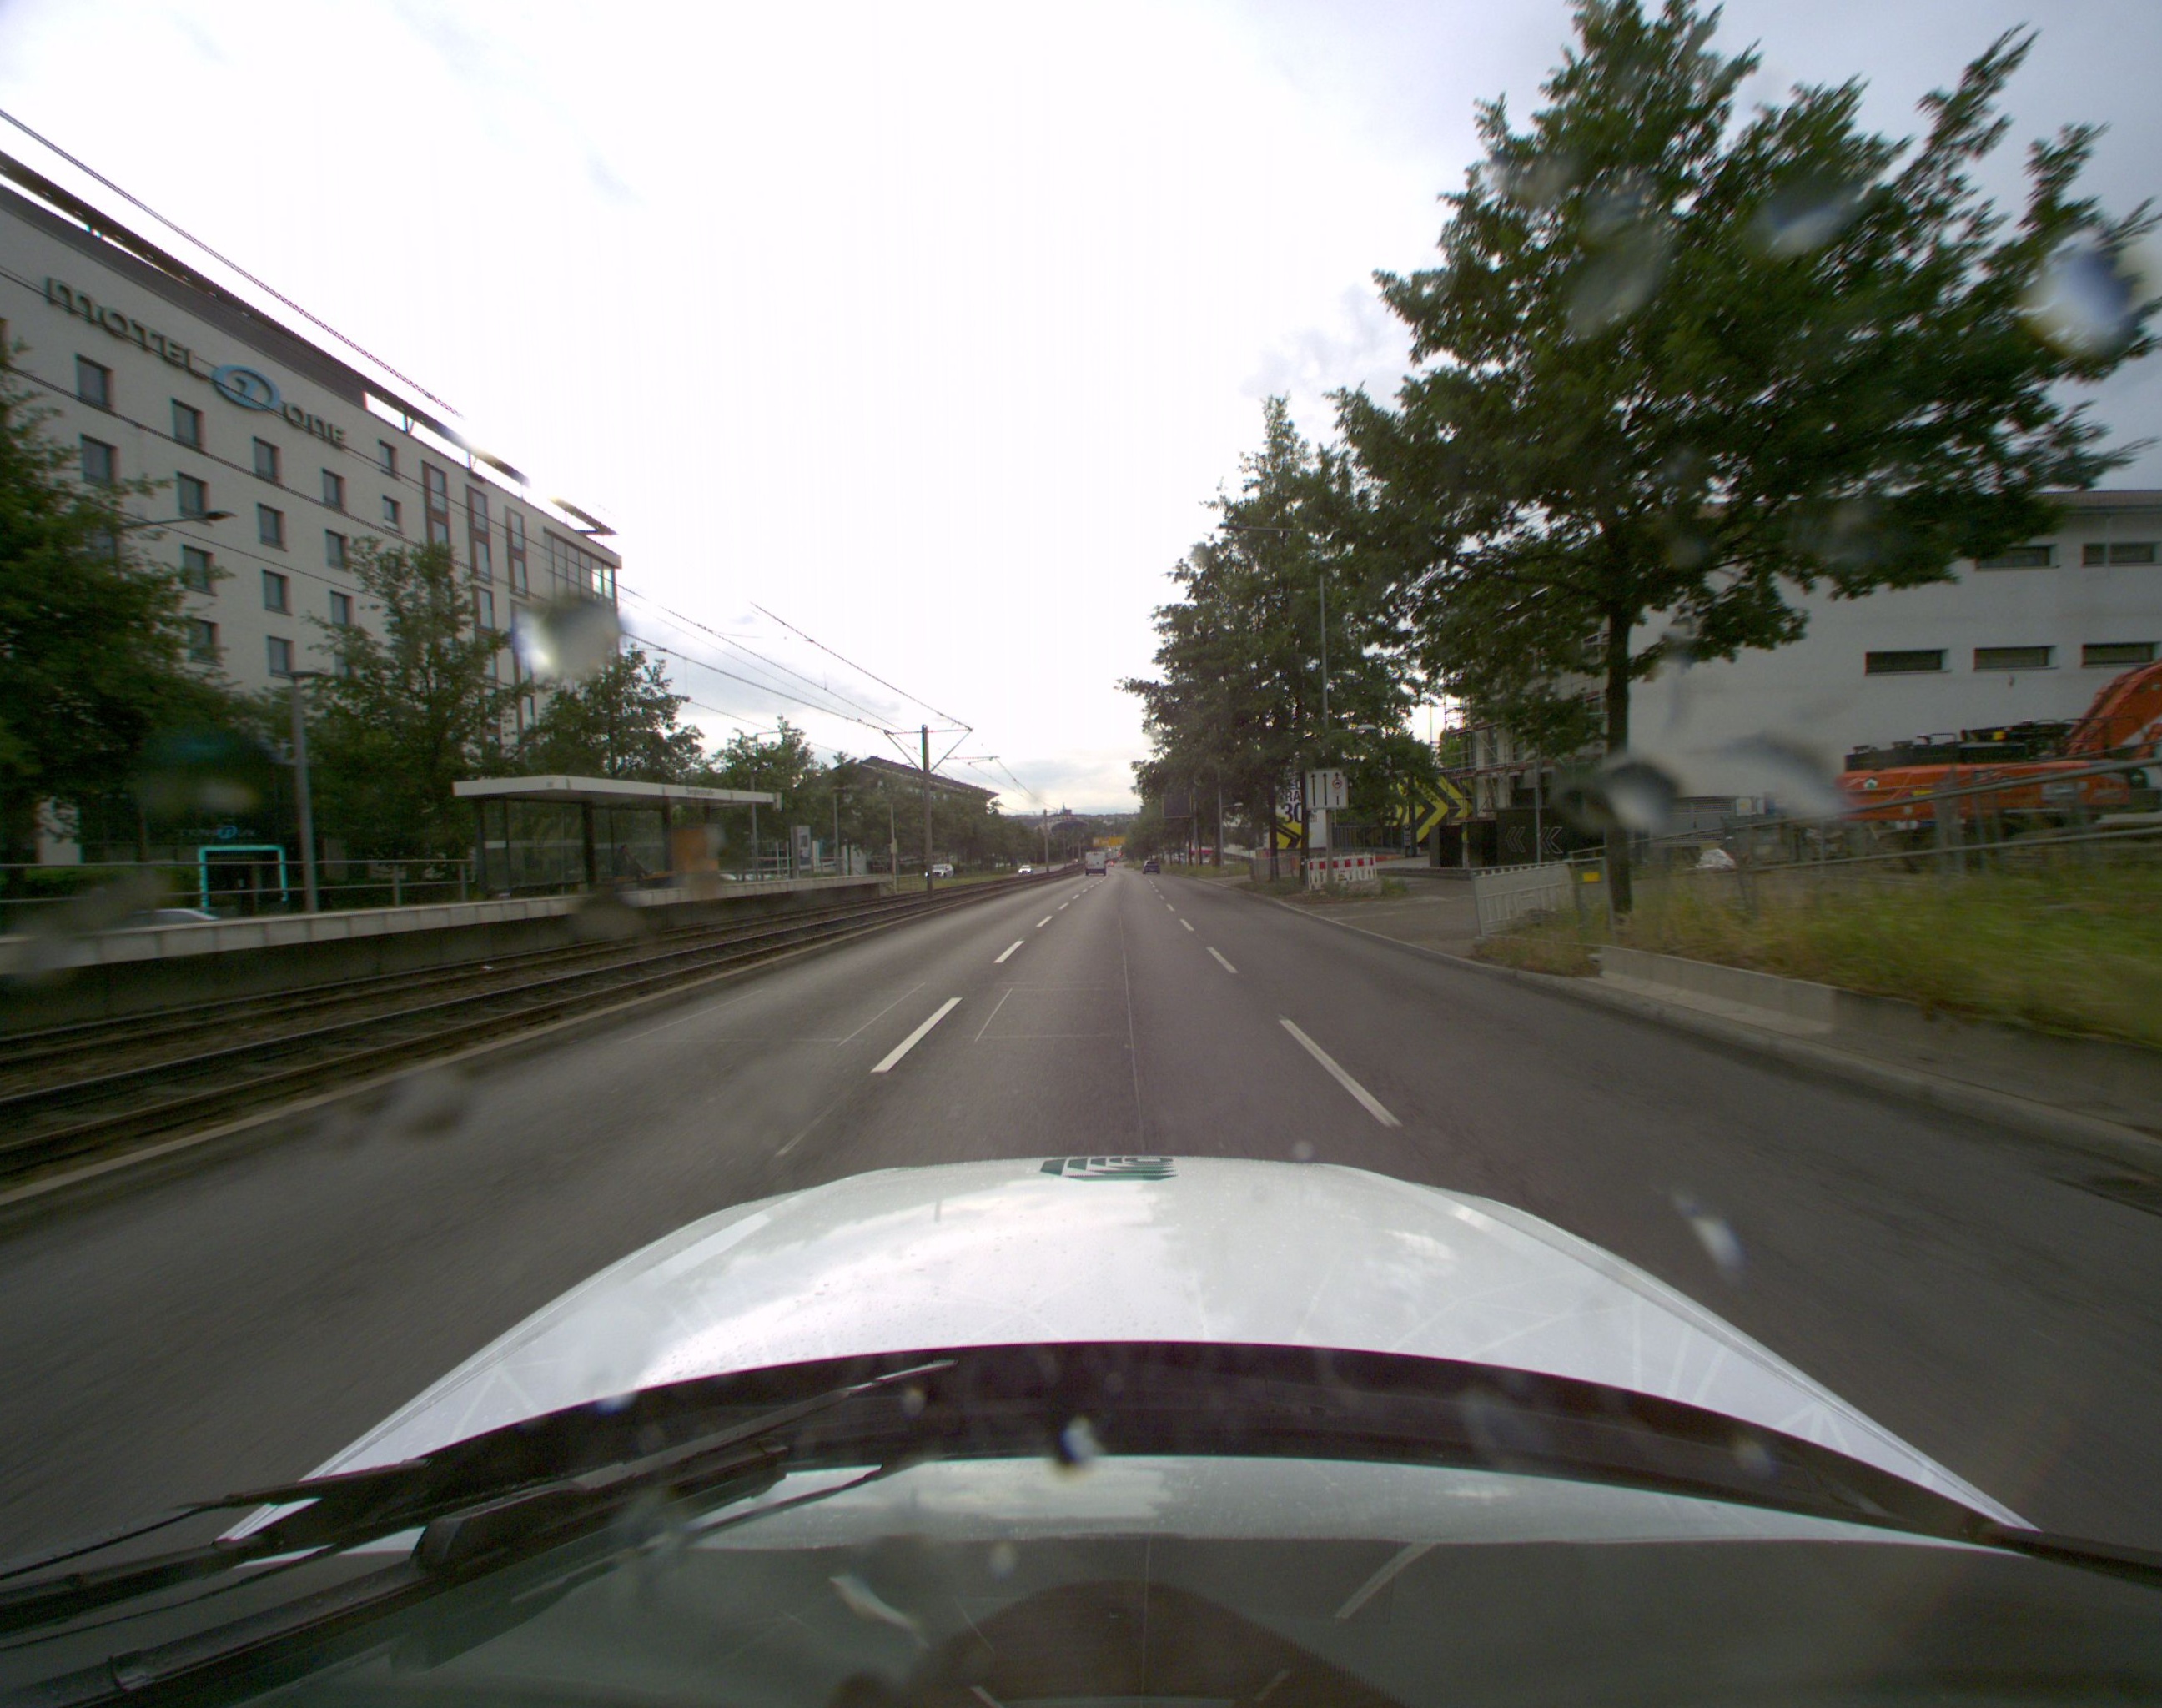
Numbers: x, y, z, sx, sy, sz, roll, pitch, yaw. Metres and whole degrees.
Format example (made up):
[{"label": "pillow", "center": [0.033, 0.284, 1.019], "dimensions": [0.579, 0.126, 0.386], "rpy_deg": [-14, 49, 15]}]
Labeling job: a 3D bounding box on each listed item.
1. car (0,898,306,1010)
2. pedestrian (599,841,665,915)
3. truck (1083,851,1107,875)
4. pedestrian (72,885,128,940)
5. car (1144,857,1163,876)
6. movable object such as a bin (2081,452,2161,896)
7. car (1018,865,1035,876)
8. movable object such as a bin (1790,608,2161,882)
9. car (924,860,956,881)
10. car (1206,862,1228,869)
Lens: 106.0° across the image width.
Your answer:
[{"label": "car", "center": [-18.837, 1.881, 16.338], "dimensions": [1.887, 1.652, 4.661], "rpy_deg": [-3, 0, 3]}, {"label": "pedestrian", "center": [-12.656, 0.674, 23.010], "dimensions": [1.122, 2.014, 1.271], "rpy_deg": [0, -1, 3]}, {"label": "truck", "center": [1.411, 0.900, 81.974], "dimensions": [2.352, 2.262, 5.306], "rpy_deg": [0, -1, 1]}, {"label": "pedestrian", "center": [-28.651, 1.695, 23.796], "dimensions": [0.598, 1.578, 0.835], "rpy_deg": [0, -1, 2]}, {"label": "car", "center": [7.817, 1.348, 88.216], "dimensions": [1.985, 2.014, 3.937], "rpy_deg": [0, -1, 3]}, {"label": "movable object such as a bin", "center": [15.316, -2.358, 6.817], "dimensions": [3.277, 5.685, 8.769], "rpy_deg": [0, -1, 3]}, {"label": "car", "center": [-8.094, 2.387, 121.497], "dimensions": [1.829, 1.444, 4.432], "rpy_deg": [-4, 0, 3]}, {"label": "movable object such as a bin", "center": [23.527, -2.317, 18.069], "dimensions": [12.102, 5.261, 3.789], "rpy_deg": [-3, -1, 0]}, {"label": "car", "center": [-13.995, 1.634, 80.869], "dimensions": [1.985, 1.847, 5.005], "rpy_deg": [-3, 0, 3]}, {"label": "car", "center": [25.107, 2.111, 150.483], "dimensions": [3.967, 1.354, 2.003], "rpy_deg": [0, -1, 6]}]
